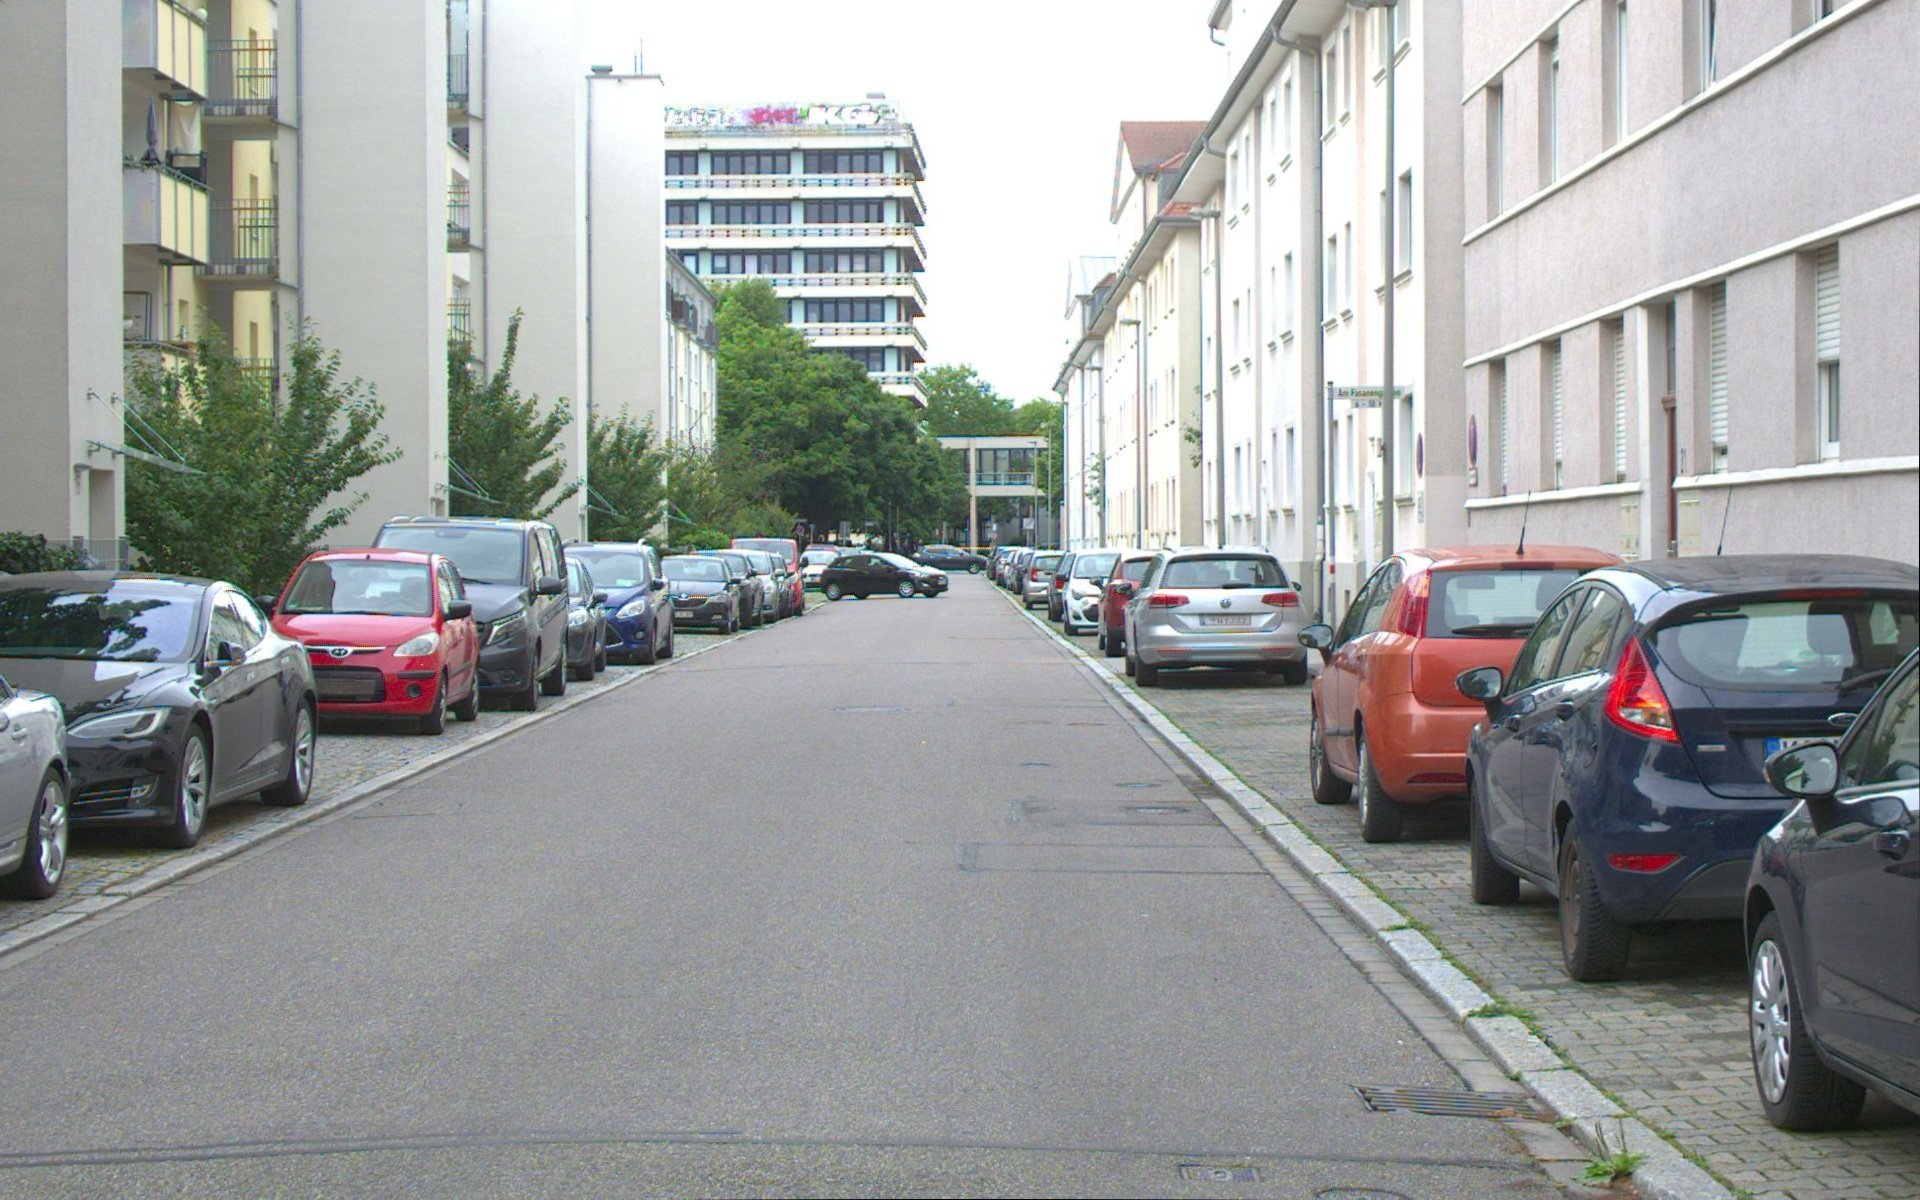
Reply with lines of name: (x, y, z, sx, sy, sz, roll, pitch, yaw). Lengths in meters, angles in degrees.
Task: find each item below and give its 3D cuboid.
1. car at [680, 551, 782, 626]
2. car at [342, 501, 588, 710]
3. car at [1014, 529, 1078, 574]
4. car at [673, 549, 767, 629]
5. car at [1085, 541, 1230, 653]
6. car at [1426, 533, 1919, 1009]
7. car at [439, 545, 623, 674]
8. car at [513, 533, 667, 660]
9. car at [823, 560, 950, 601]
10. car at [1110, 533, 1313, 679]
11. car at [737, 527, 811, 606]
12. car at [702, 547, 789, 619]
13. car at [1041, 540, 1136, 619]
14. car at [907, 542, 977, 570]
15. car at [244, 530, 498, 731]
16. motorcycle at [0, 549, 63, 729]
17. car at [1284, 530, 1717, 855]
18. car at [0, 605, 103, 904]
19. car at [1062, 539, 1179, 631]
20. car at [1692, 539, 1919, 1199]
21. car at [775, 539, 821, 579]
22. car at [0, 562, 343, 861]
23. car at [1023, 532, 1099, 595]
car: (-4.329, -0.238, 65.438, 1.671, 1.347, 3.817, 0, 1, 0)
car: (-4.943, -0.004, 34.955, 1.879, 1.897, 5.031, 2, 1, -2)
car: (2.886, -1.642, 115.973, 1.993, 1.393, 4.000, 2, 1, 0)
car: (-4.895, -0.254, 70.499, 1.671, 1.558, 3.664, 0, 1, 0)
car: (2.703, -0.077, 47.769, 1.670, 1.415, 4.000, -2, 1, -1)
car: (2.784, 0.520, 12.955, 1.567, 1.468, 3.696, -2, 1, 1)
car: (-5.182, 0.079, 41.991, 1.830, 1.454, 4.260, 0, 1, -2)
car: (-5.048, -0.084, 47.384, 1.769, 1.637, 4.355, 0, 1, -2)
car: (-2.293, -0.620, 108.025, 3.731, 1.210, 1.543, 1, 1, 13)
car: (2.673, 0.020, 37.424, 1.755, 1.462, 4.601, 0, 1, -1)
car: (-4.712, -0.868, 87.298, 1.671, 1.931, 3.742, 0, 1, 0)
car: (-4.773, -0.407, 77.047, 1.671, 1.520, 4.253, 0, 1, 0)
car: (2.655, -0.456, 71.722, 1.819, 1.571, 3.752, 0, 1, 0)
car: (-1.037, -2.585, 200.718, 3.987, 1.481, 2.000, 2, 1, 0)
car: (-5.021, 0.211, 29.708, 1.563, 1.563, 3.642, 2, 1, -1)
motorcycle: (-7.694, 0.287, 26.997, 0.677, 1.351, 2.229, 2, 1, 0)
car: (2.774, 0.405, 18.401, 1.696, 1.520, 3.826, -1, 1, 0)
car: (-5.024, 0.686, 14.662, 1.696, 1.254, 4.015, 2, 1, 0)
car: (2.730, -0.290, 59.181, 1.819, 1.499, 3.752, 0, 1, 0)
car: (2.780, 0.606, 7.584, 1.567, 1.473, 3.871, -1, 1, 1)
car: (-6.015, -1.543, 128.051, 1.539, 1.445, 3.742, 0, 1, 0)
car: (-4.903, 0.540, 19.736, 1.842, 1.416, 4.630, 2, 1, 0)
car: (2.565, -0.958, 88.356, 1.819, 1.571, 3.884, 0, 1, 0)
